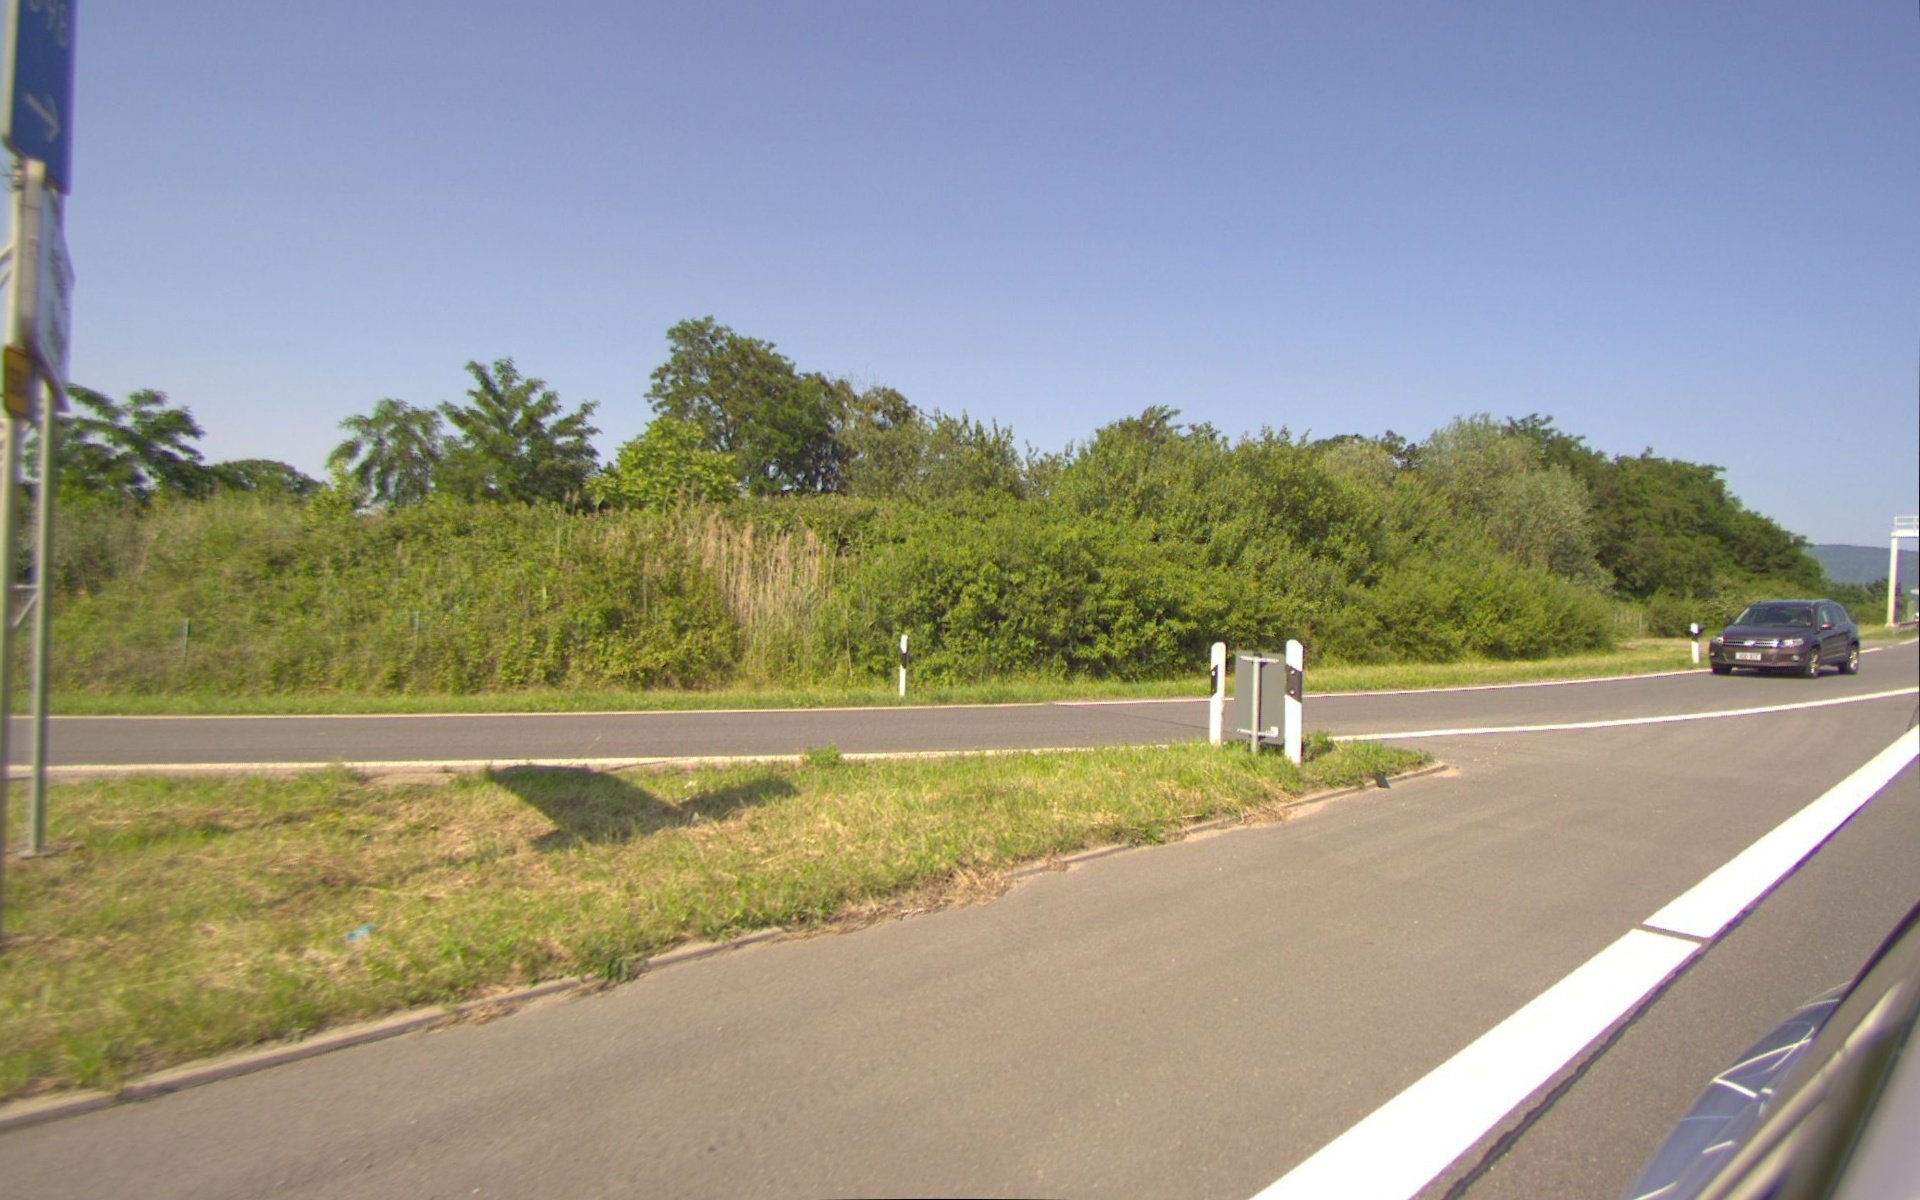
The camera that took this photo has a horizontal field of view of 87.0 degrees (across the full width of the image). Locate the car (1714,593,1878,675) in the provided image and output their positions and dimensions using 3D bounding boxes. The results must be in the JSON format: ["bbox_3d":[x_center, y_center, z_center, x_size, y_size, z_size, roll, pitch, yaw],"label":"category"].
[{"bbox_3d":[18.569,0.719,22.443,4.068,1.668,1.791,1,-1,-35],"label":"car"}]
